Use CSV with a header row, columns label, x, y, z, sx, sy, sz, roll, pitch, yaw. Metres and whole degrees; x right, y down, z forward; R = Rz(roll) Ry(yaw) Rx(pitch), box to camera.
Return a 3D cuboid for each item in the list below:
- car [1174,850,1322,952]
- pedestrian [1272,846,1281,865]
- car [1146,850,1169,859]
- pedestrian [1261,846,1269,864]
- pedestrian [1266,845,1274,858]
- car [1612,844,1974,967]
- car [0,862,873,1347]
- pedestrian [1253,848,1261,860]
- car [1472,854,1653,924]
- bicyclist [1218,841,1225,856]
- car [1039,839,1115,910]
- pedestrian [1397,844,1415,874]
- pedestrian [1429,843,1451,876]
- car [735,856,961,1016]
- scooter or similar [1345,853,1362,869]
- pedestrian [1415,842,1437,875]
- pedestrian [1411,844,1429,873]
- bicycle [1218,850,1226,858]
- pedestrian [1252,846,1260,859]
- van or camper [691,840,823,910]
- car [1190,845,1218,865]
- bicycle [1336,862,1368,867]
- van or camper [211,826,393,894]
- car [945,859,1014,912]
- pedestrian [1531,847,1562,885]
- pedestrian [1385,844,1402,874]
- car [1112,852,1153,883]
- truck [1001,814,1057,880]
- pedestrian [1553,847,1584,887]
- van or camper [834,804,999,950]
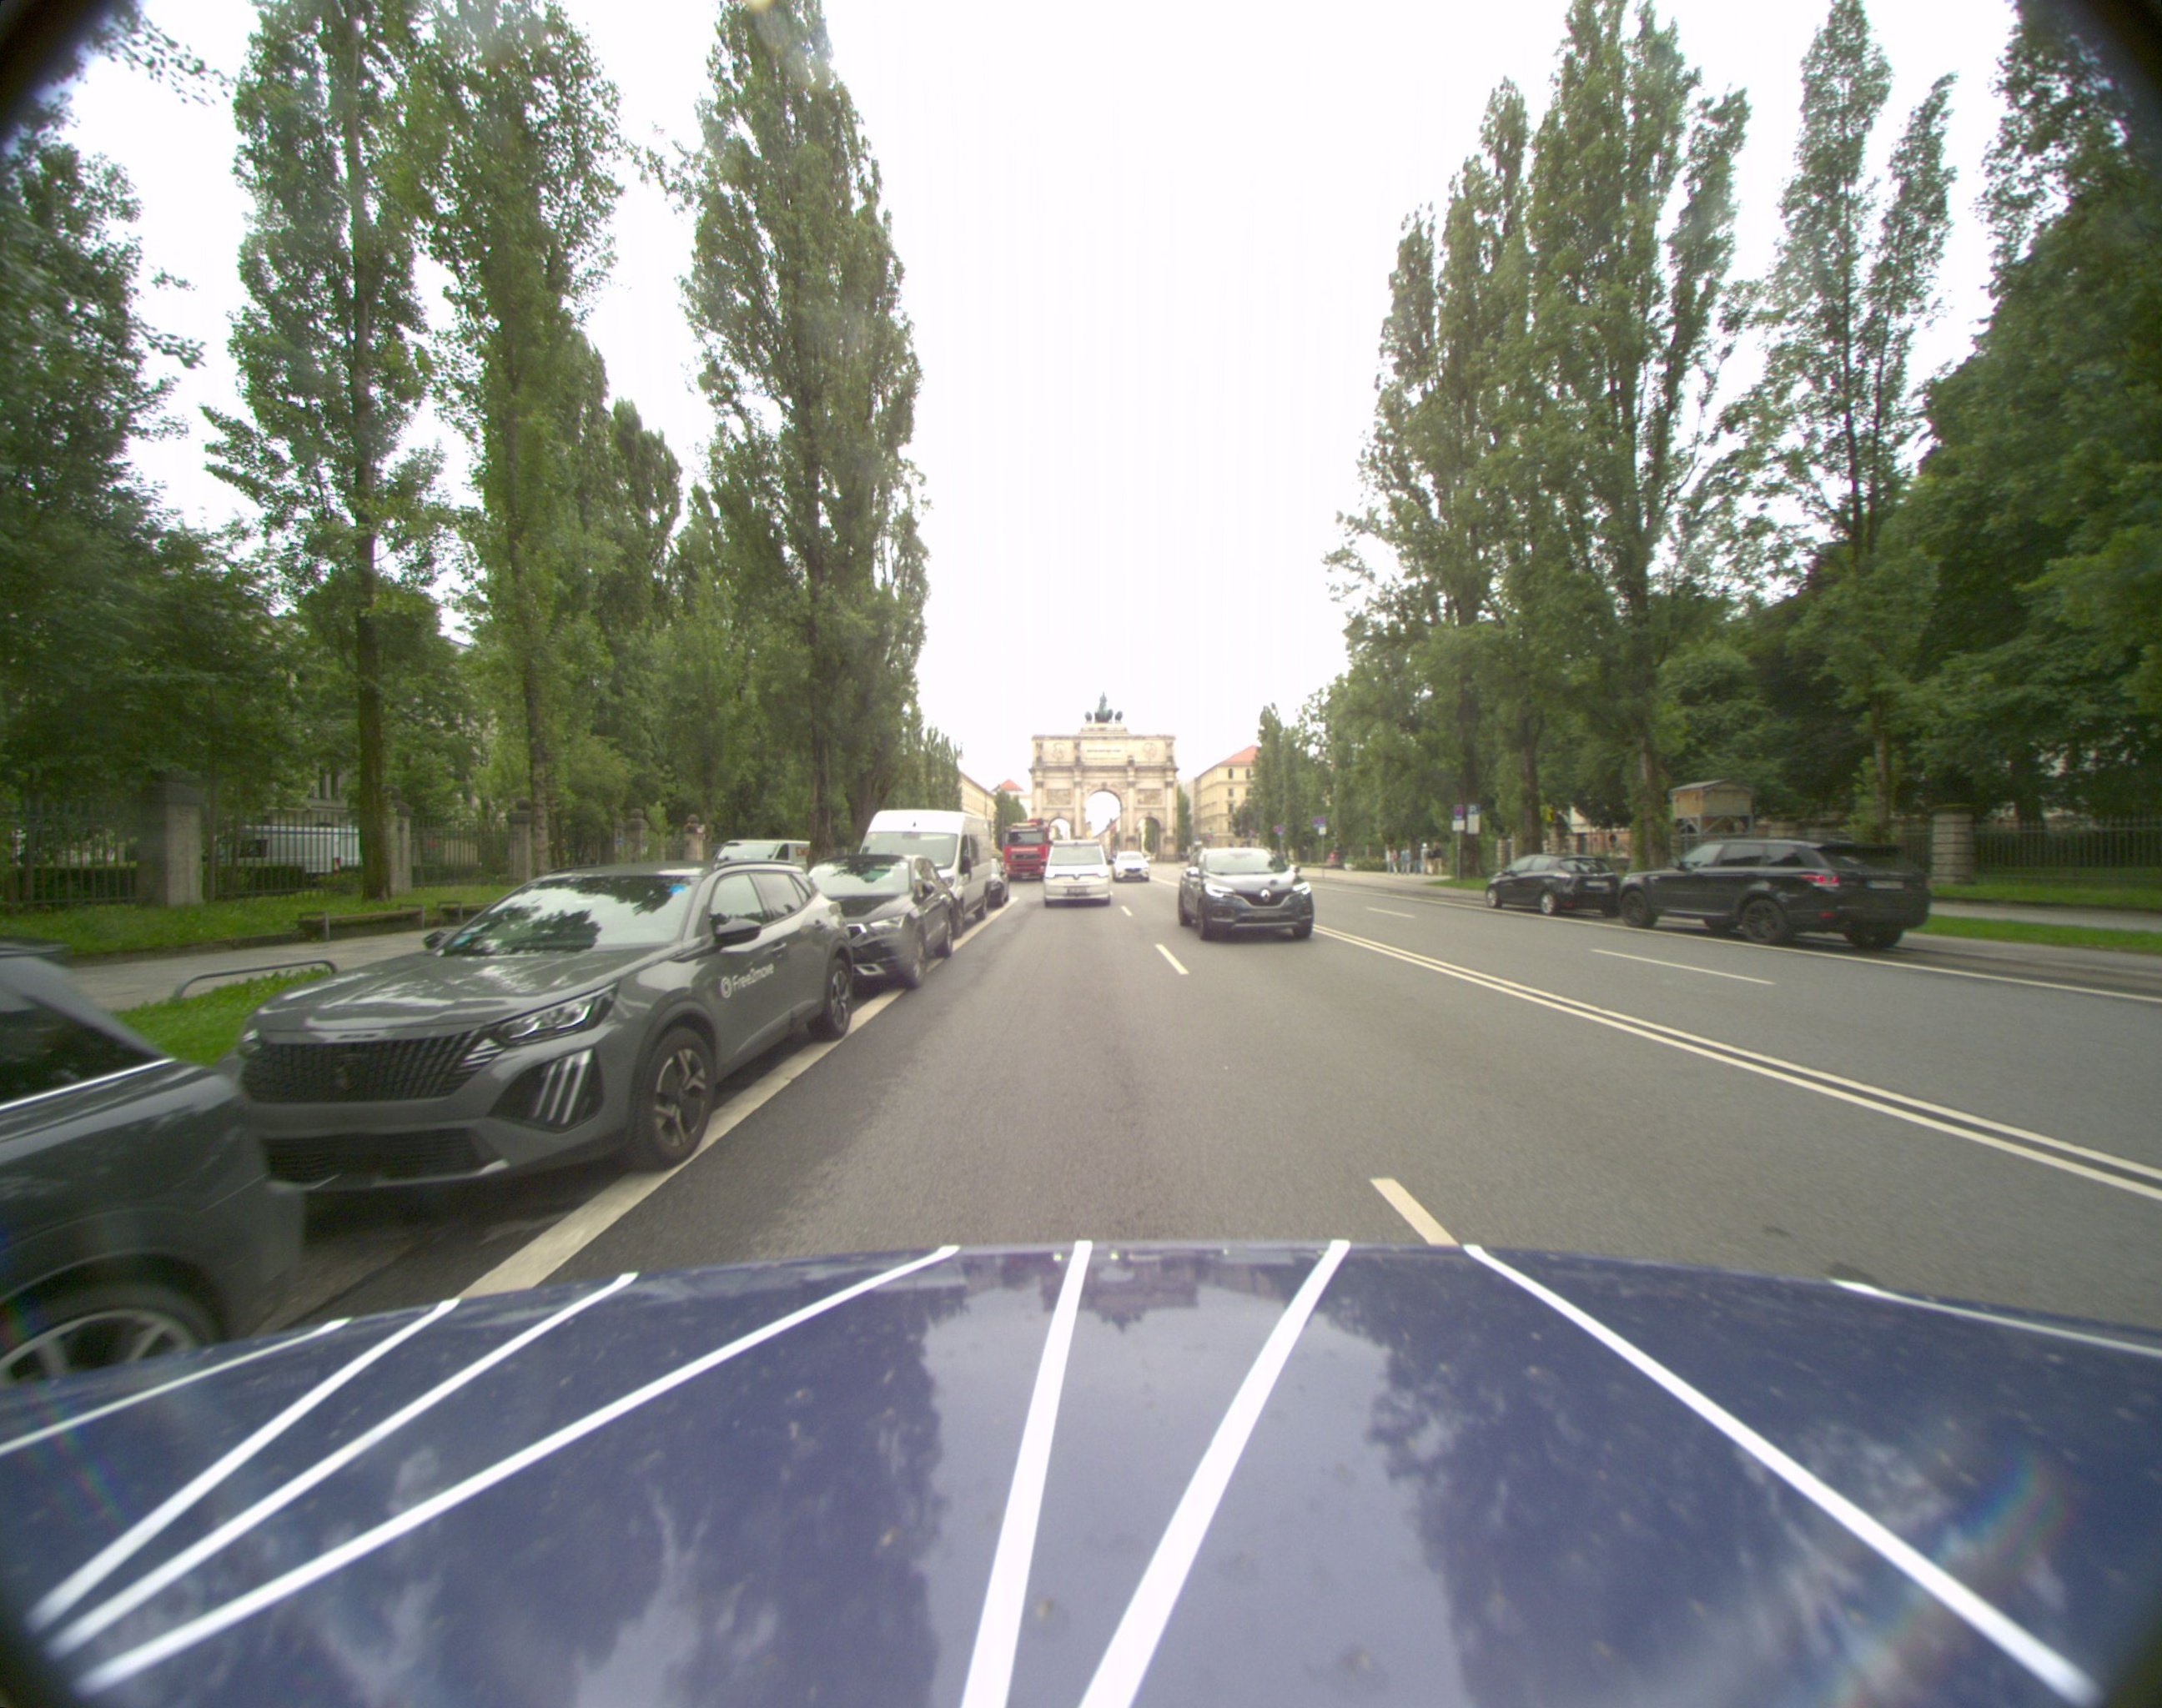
label,x,y,z,sx,sy,sz,roll,pitch,yaw
car,2.869,0.727,13.978,1.840,1.576,4.185,-1,0,1
pedestrian,17.837,0.176,69.295,0.533,1.720,0.583,0,1,-11
car,14.303,0.109,141.850,2.004,1.739,3.989,-1,0,-40
pedestrian,17.949,0.098,74.063,0.533,1.720,0.583,0,1,-11
pedestrian,27.207,-0.407,109.177,0.990,1.860,1.031,-2,1,10
car,12.271,0.749,13.714,2.051,1.776,4.799,2,1,2
car,-2.886,0.889,4.938,1.788,1.608,4.637,0,0,0
pedestrian,24.599,0.028,106.172,0.958,1.708,1.032,-1,1,22
car,12.411,0.817,20.002,1.949,1.574,4.388,1,0,0
bicyclist,16.537,-0.637,89.304,0.591,1.813,0.661,-2,1,-2
car,-0.090,0.553,23.894,2.064,1.916,5.728,-1,0,1
pedestrian,19.078,0.288,44.656,0.689,1.690,0.885,0,1,-1
pedestrian,20.039,0.300,42.429,0.711,1.762,1.092,-1,1,-1
car,-2.786,0.868,10.182,1.789,1.639,4.416,0,0,-2
scooter or similar,21.293,0.534,59.452,0.747,1.171,1.415,1,0,-5
pedestrian,19.251,0.254,42.444,0.711,1.823,1.092,-1,1,-1
pedestrian,20.006,0.258,44.825,0.661,1.706,0.911,0,1,-1
bicycle,16.559,-0.027,89.292,0.470,0.947,1.913,-2,0,-1
pedestrian,23.306,-0.151,101.069,0.959,1.708,1.031,-2,1,12
van or camper,-9.966,0.578,23.922,1.980,1.922,5.037,-2,0,-1
car,11.653,0.061,72.229,1.797,1.331,4.461,0,8,-2
bicycle,22.834,0.879,64.062,2.219,0.450,1.339,0,-1,-22
van or camper,-32.421,0.246,31.743,5.222,2.690,2.249,0,1,0
car,-3.055,0.905,23.519,1.680,1.412,3.999,-1,0,-2
pedestrian,19.004,0.476,31.022,0.720,1.540,0.875,-1,1,-1
pedestrian,18.369,0.268,44.646,0.631,1.737,0.908,0,1,-1
car,2.661,0.670,39.865,1.910,1.516,4.009,0,0,1
truck,-2.992,-0.398,46.726,2.852,3.543,10.277,-1,0,-1
pedestrian,19.897,0.514,31.004,0.720,1.595,0.813,-1,1,-1
van or camper,-3.216,0.383,16.504,2.144,2.525,6.416,-1,0,0
